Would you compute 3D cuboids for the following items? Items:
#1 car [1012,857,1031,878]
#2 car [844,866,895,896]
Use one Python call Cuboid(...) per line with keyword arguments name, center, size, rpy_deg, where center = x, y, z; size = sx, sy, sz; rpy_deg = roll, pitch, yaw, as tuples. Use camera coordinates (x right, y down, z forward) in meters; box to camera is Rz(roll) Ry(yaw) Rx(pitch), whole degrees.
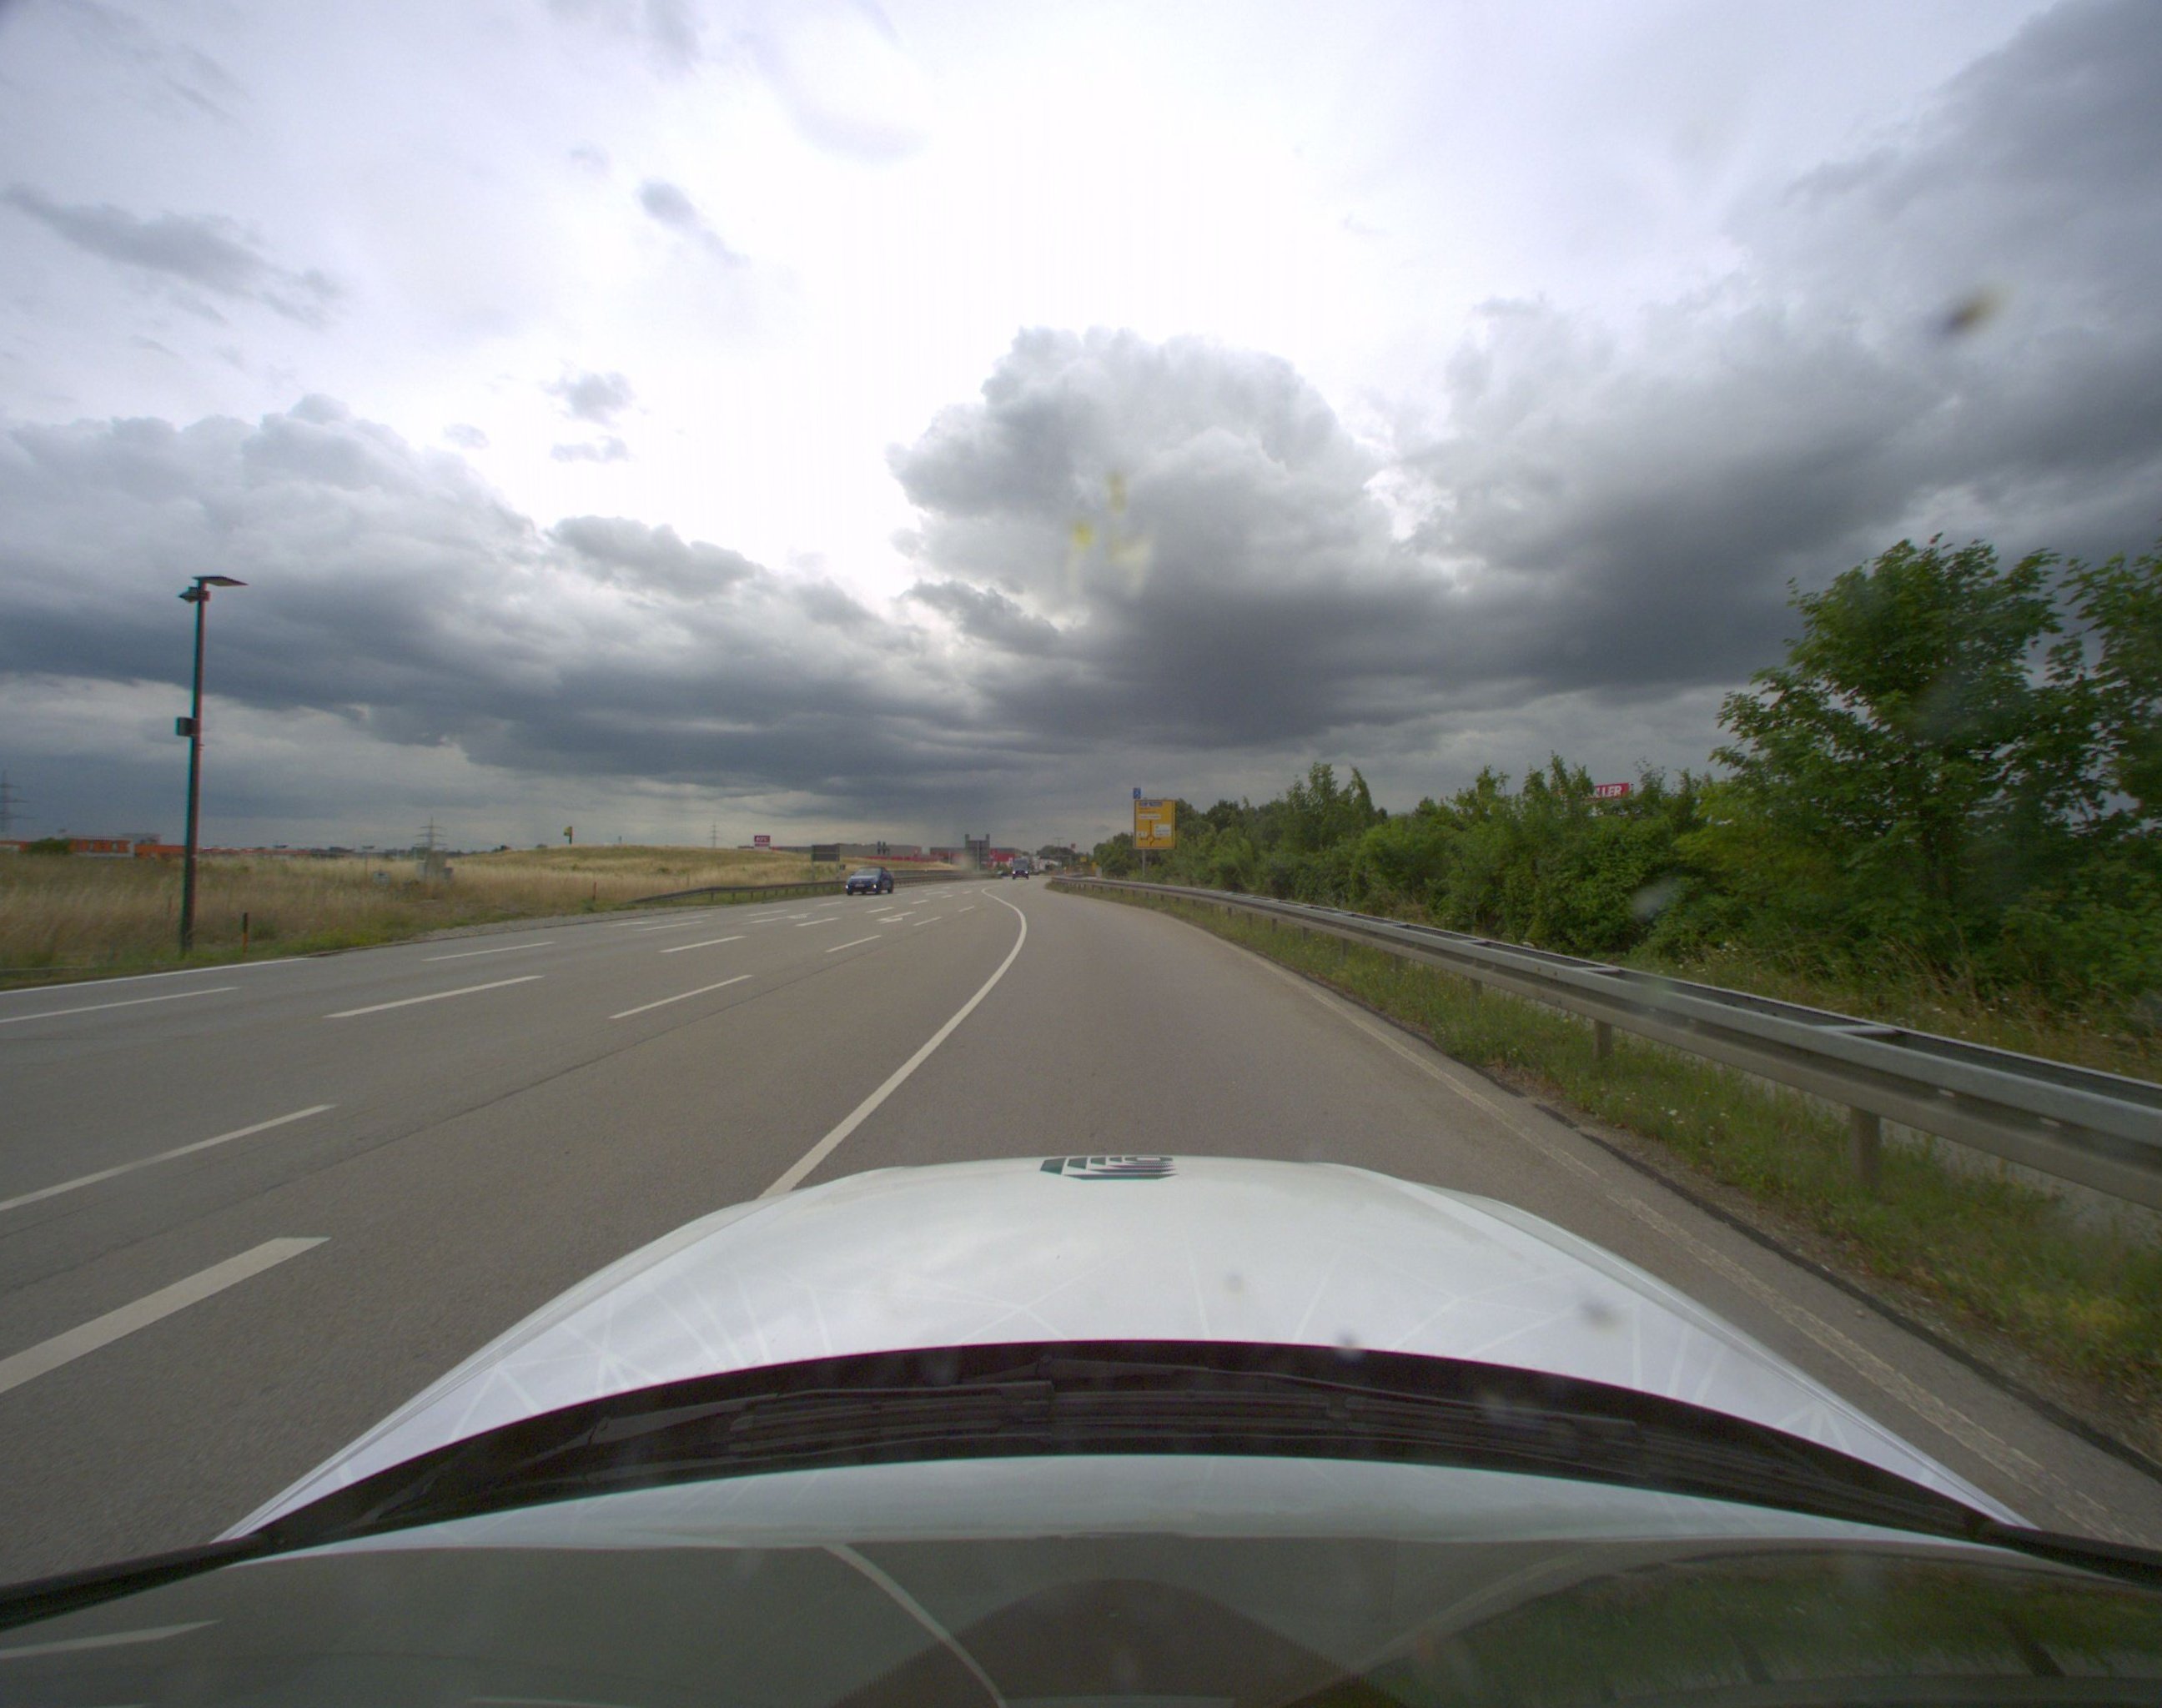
Cuboid(name="car", center=(-7.443, 1.673, 102.737), size=(1.987, 2.592, 6.003), rpy_deg=(0, -1, 0))
Cuboid(name="car", center=(-11.638, 1.463, 45.056), size=(1.792, 1.551, 3.999), rpy_deg=(0, -1, 0))
